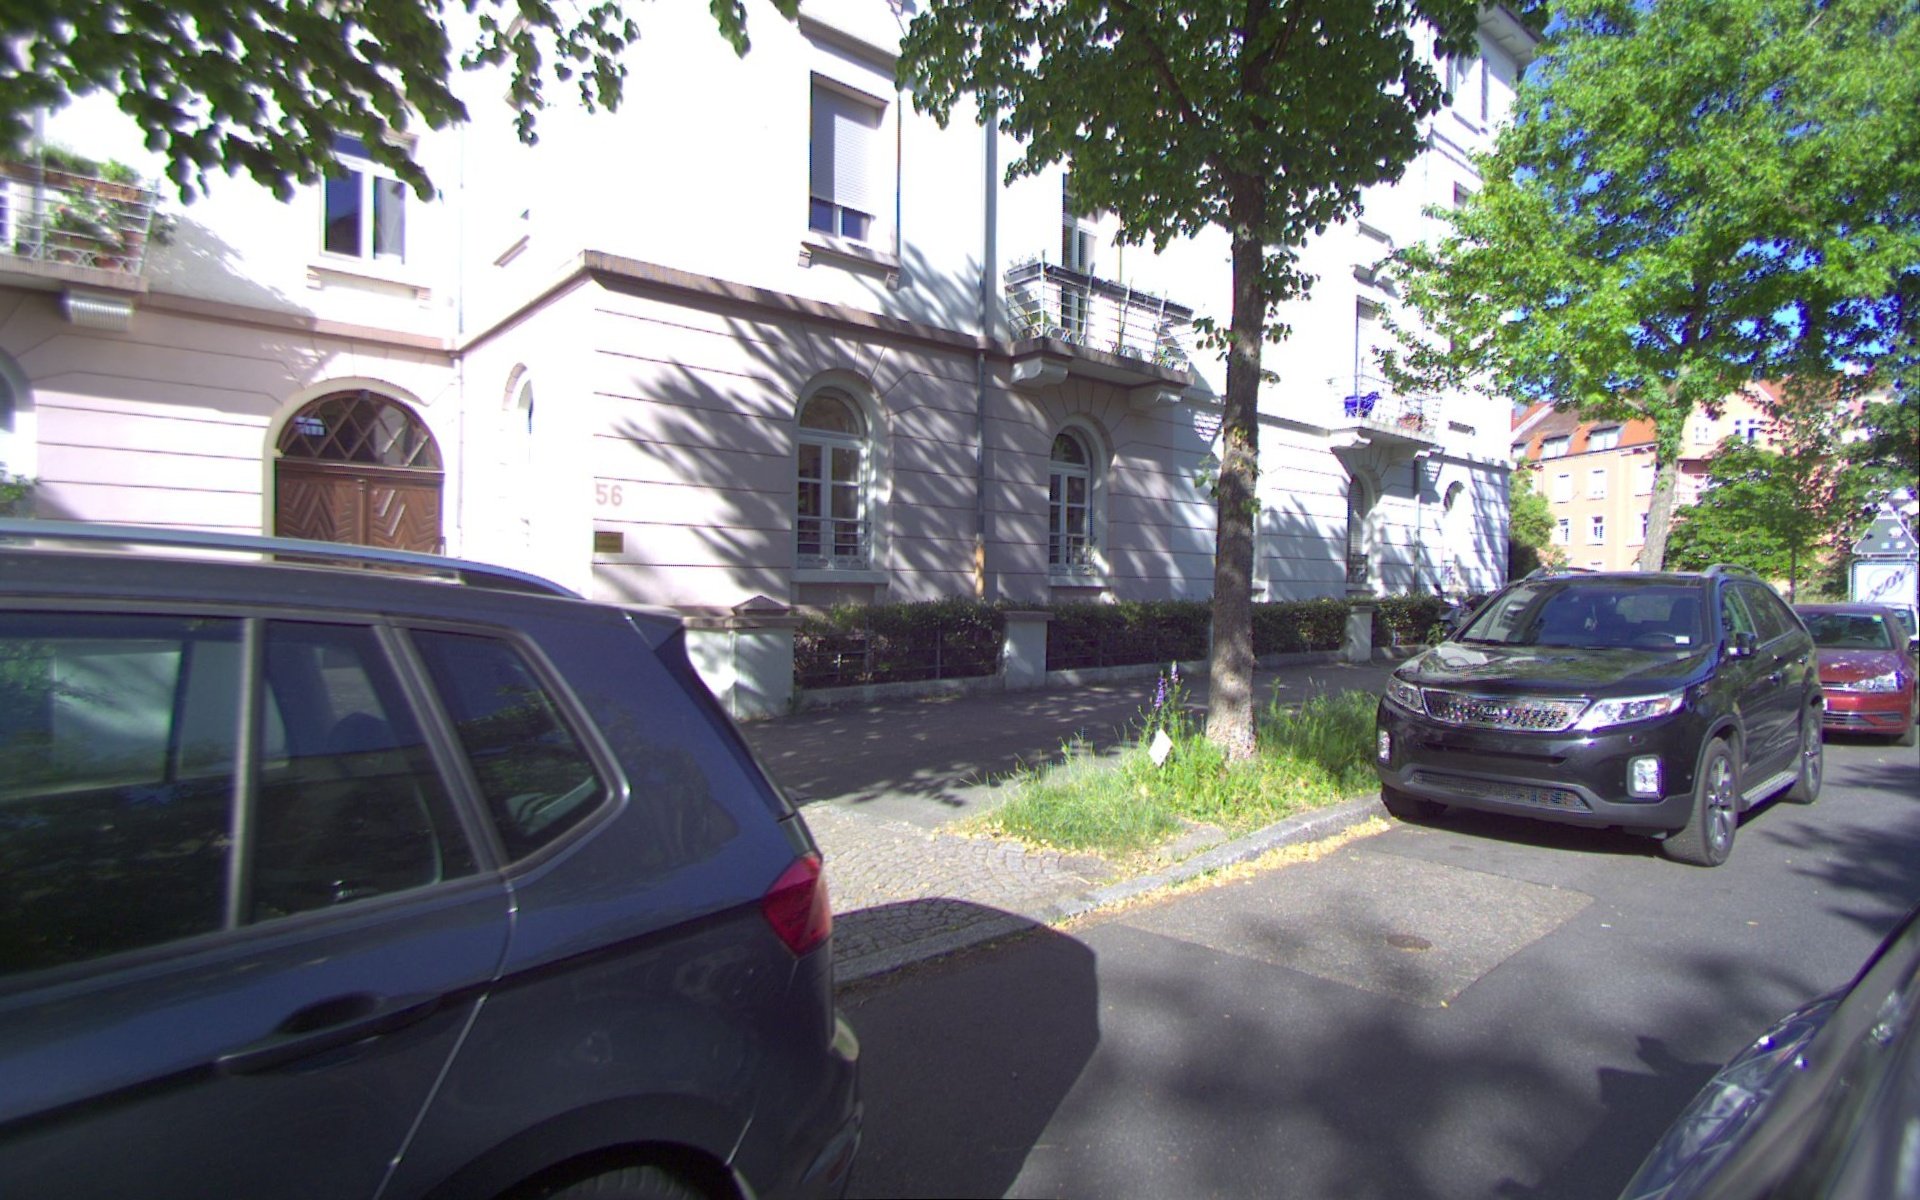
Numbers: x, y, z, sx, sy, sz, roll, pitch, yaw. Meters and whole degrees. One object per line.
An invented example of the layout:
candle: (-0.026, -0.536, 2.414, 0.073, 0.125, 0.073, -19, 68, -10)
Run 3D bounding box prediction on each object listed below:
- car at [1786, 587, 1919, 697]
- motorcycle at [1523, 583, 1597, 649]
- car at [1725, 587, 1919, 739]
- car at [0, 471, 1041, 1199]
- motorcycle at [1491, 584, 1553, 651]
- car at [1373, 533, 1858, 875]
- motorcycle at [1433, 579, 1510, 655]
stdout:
car: (13.641, 0.533, 14.890, 4.064, 1.419, 1.655, 0, 1, -41)
motorcycle: (12.901, 0.311, 21.749, 0.971, 1.345, 1.823, 1, 1, 44)
car: (10.176, 0.580, 11.624, 4.280, 1.427, 1.612, 0, 1, -45)
car: (-2.048, 0.690, 1.188, 4.458, 1.608, 1.686, 0, -1, -42)
motorcycle: (11.458, 0.333, 20.610, 0.656, 1.295, 1.772, 3, 3, 43)
car: (4.812, 0.496, 7.168, 4.223, 1.719, 1.784, 0, 1, -41)
motorcycle: (9.681, 0.295, 19.120, 2.053, 1.378, 0.540, 0, 1, -41)
